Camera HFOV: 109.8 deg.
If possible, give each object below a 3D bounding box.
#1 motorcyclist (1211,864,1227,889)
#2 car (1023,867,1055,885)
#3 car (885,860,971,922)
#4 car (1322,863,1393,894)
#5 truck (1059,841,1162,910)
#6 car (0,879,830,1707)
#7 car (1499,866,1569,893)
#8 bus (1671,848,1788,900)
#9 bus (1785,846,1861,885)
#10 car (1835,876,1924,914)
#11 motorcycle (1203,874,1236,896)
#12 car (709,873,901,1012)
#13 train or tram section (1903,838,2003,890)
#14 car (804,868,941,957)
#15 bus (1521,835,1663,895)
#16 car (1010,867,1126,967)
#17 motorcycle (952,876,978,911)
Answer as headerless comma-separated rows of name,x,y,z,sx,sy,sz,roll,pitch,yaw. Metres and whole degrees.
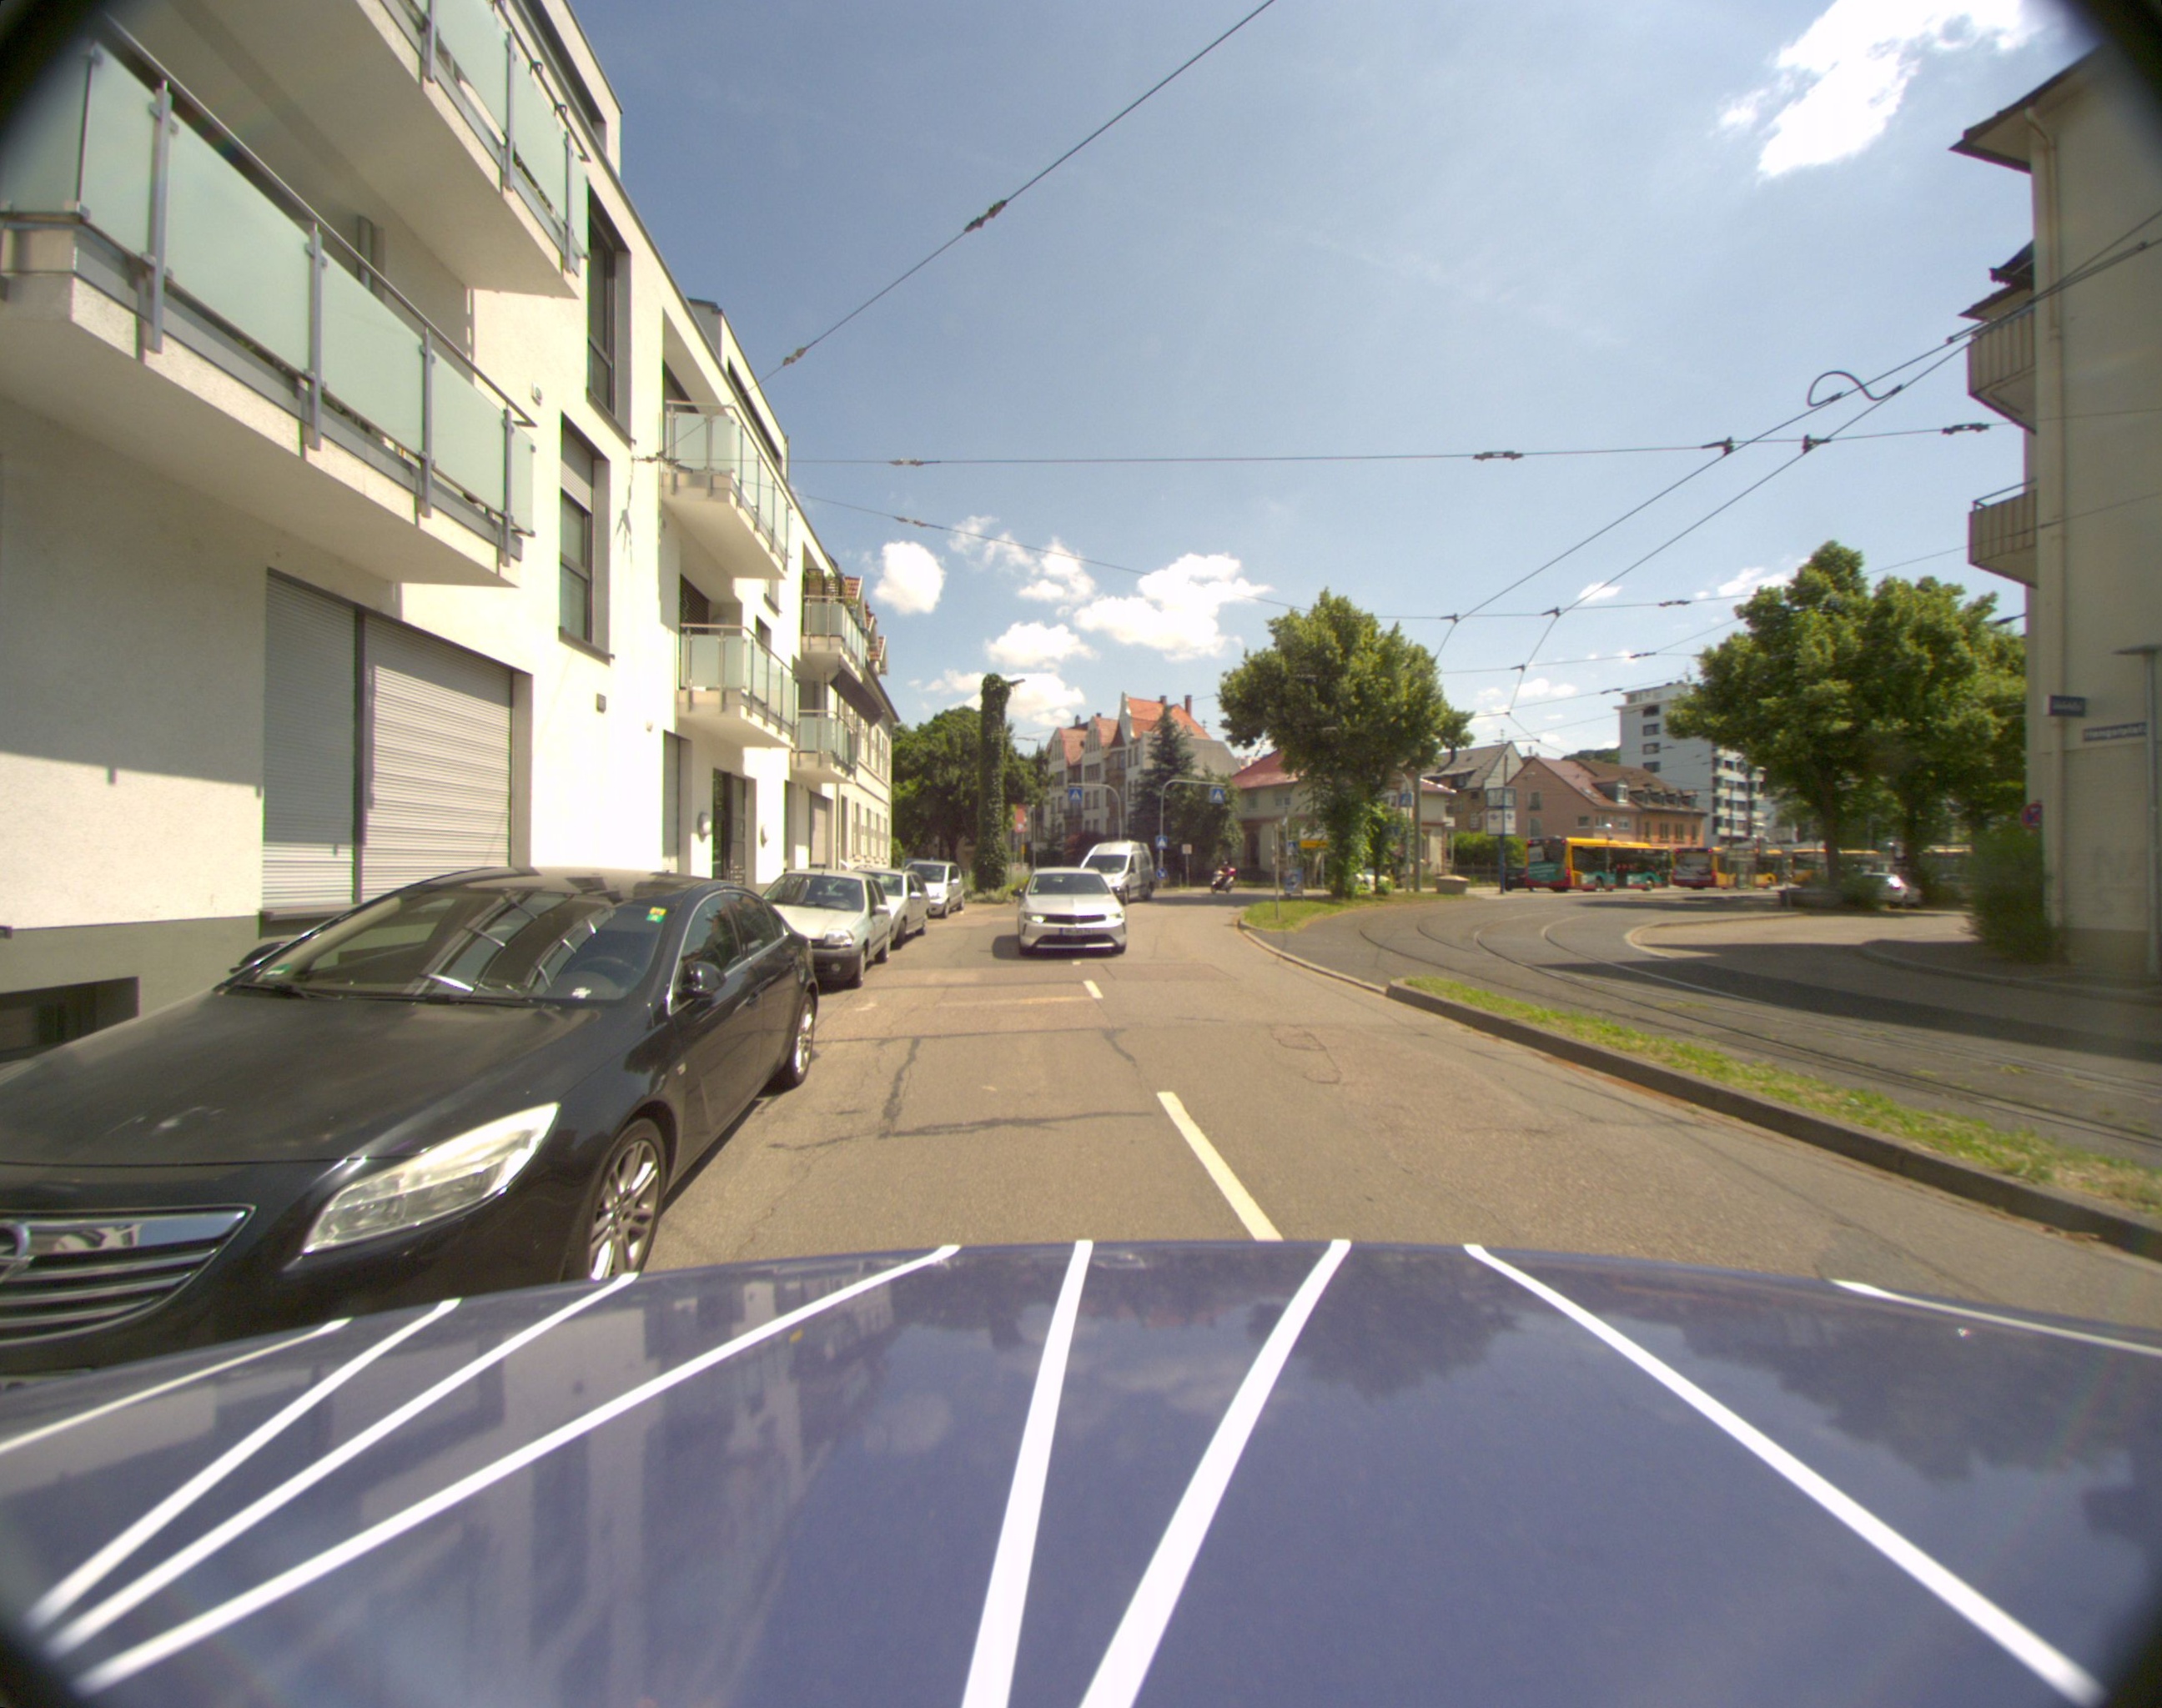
motorcyclist,6.812,1.106,37.415,0.556,1.235,0.540,1,0,-21
car,-4.117,2.134,73.949,1.777,1.506,3.993,6,-3,-22
car,-4.557,1.050,23.123,1.731,1.601,3.800,3,0,1
car,14.125,1.213,38.749,3.755,1.455,1.774,1,0,-41
truck,1.221,0.723,27.504,2.017,2.236,5.416,-2,0,21
car,-2.561,0.990,3.491,1.806,1.500,4.544,4,-1,-8
car,28.677,1.606,48.052,4.336,1.622,1.858,2,-1,-28
bus,47.671,1.486,55.667,12.229,3.585,2.691,1,-1,-30
bus,65.355,1.058,66.833,10.174,3.170,2.570,1,-1,-33
car,33.357,1.668,31.714,3.963,1.473,1.840,1,-1,-32
motorcycle,6.834,1.503,37.438,1.437,1.051,0.668,1,0,-20
car,-3.588,1.073,10.550,1.597,1.424,3.704,4,-1,-6
train or tram section,65.099,0.762,56.602,13.928,3.499,2.892,1,-1,-33
car,-4.077,1.077,15.523,1.731,1.424,4.042,4,-1,-2
bus,31.017,0.768,45.877,10.878,3.277,2.702,2,-2,-30
car,-0.106,1.014,13.926,1.800,1.457,4.172,1,0,3
motorcycle,-4.755,1.594,31.257,0.802,1.344,2.338,0,-1,-2
